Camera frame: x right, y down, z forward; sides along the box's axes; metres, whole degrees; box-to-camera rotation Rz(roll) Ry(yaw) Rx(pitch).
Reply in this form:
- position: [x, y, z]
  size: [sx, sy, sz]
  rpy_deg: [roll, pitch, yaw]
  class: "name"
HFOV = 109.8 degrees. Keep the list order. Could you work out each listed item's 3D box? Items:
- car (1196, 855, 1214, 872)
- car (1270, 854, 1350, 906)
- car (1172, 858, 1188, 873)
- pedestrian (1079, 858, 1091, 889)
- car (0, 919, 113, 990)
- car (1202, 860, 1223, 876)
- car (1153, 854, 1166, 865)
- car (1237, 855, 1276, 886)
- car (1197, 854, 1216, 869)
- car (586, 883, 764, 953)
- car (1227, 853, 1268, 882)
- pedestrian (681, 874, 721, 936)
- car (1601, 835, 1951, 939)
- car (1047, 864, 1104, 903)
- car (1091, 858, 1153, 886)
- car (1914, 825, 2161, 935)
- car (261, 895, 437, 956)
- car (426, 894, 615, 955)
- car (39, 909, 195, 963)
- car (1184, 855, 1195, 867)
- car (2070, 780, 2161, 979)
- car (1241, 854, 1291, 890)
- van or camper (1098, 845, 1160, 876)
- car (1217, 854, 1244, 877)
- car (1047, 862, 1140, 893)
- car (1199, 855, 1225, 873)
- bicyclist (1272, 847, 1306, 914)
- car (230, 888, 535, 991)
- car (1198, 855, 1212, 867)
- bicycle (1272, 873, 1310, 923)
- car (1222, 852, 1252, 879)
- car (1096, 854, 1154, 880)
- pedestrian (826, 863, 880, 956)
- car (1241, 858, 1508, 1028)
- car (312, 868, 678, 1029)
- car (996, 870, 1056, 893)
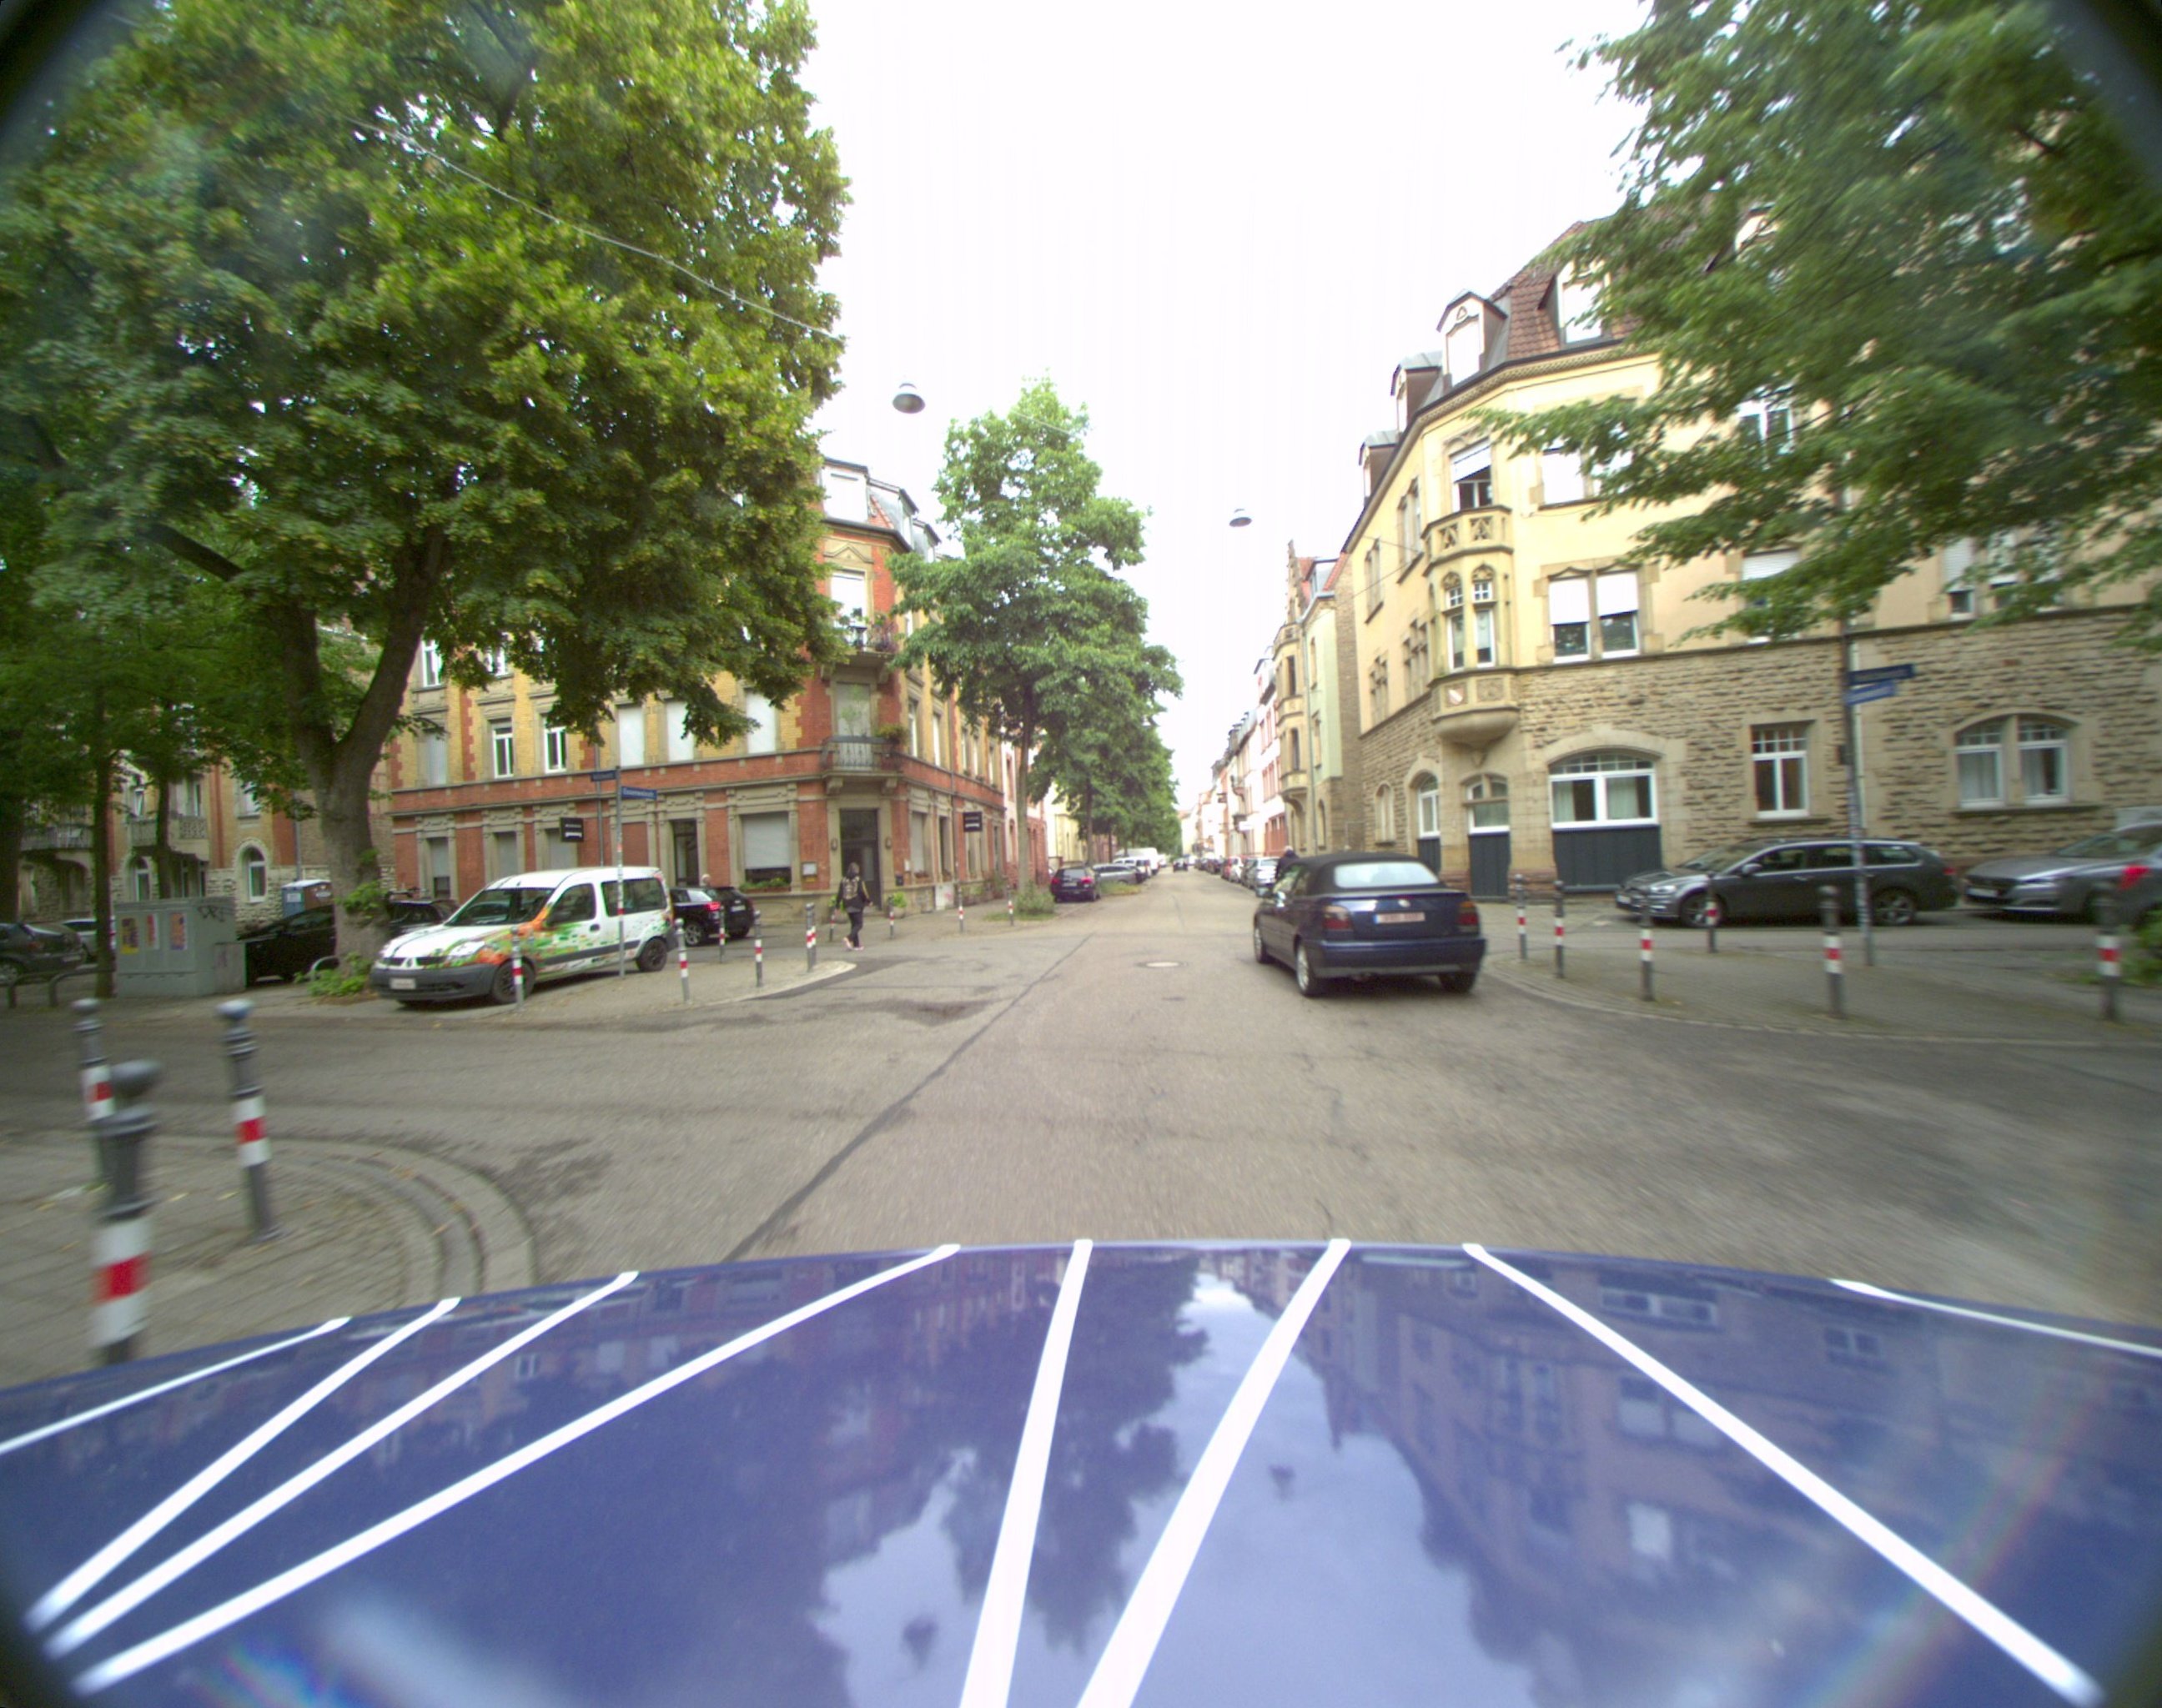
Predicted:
- position: [14.328, 1.089, 88.005]
  size: [1.843, 1.849, 4.003]
  rpy_deg: [-3, 0, 8]
  class: "car"
- position: [7.262, 0.800, 24.449]
  size: [1.731, 1.425, 3.884]
  rpy_deg: [-4, -1, 7]
  class: "car"
- position: [12.007, 1.353, 92.305]
  size: [1.813, 1.620, 4.210]
  rpy_deg: [-3, 0, 8]
  class: "car"
- position: [0.227, 1.095, 42.537]
  size: [0.598, 1.723, 0.664]
  rpy_deg: [-2, 0, 5]
  class: "pedestrian"
- position: [-24.238, 2.315, 16.452]
  size: [3.594, 1.410, 1.740]
  rpy_deg: [-4, -2, -29]
  class: "car"
- position: [12.548, 1.303, 72.623]
  size: [1.659, 1.375, 3.474]
  rpy_deg: [-4, 0, 7]
  class: "car"
- position: [14.377, 0.974, 138.400]
  size: [1.997, 1.739, 4.003]
  rpy_deg: [-3, -1, 9]
  class: "car"
- position: [8.912, 0.809, 38.779]
  size: [1.520, 1.425, 3.458]
  rpy_deg: [-4, -1, 7]
  class: "car"
- position: [13.066, 0.766, 79.223]
  size: [1.609, 1.463, 3.344]
  rpy_deg: [-3, 0, 6]
  class: "car"
- position: [-10.425, 1.629, 19.585]
  size: [3.828, 1.531, 1.662]
  rpy_deg: [-3, 1, 14]
  class: "car"
- position: [9.532, 0.739, 43.781]
  size: [1.670, 1.502, 3.555]
  rpy_deg: [-3, -1, 2]
  class: "car"
- position: [-10.720, 1.439, 21.447]
  size: [0.747, 1.696, 0.563]
  rpy_deg: [-3, 0, 18]
  class: "pedestrian"
- position: [11.972, 0.567, 13.406]
  size: [4.278, 1.459, 1.663]
  rpy_deg: [-3, 3, 14]
  class: "car"
- position: [-0.150, 1.173, 31.677]
  size: [1.767, 1.477, 4.482]
  rpy_deg: [-1, 0, 7]
  class: "car"
- position: [2.590, 1.159, 48.427]
  size: [3.470, 1.553, 1.784]
  rpy_deg: [-3, 0, -16]
  class: "car"
- position: [16.588, 0.369, 12.108]
  size: [4.278, 1.459, 1.663]
  rpy_deg: [-3, 3, 14]
  class: "car"
- position: [-22.594, 2.215, 23.497]
  size: [4.323, 1.525, 2.002]
  rpy_deg: [-3, 2, 18]
  class: "car"
- position: [-15.627, 1.969, 21.237]
  size: [4.323, 1.347, 2.002]
  rpy_deg: [-3, 2, 18]
  class: "car"
- position: [-32.940, 2.791, 25.981]
  size: [4.265, 1.487, 1.846]
  rpy_deg: [-3, 2, 18]
  class: "car"
- position: [21.714, 1.404, 152.458]
  size: [2.051, 2.071, 3.813]
  rpy_deg: [-4, -1, 8]
  class: "car"
- position: [11.647, 0.195, 6.189]
  size: [1.833, 1.956, 3.960]
  rpy_deg: [-3, 0, -6]
  class: "car"
- position: [8.252, 0.782, 34.222]
  size: [1.592, 1.425, 3.812]
  rpy_deg: [-4, -1, 6]
  class: "car"
- position: [4.268, 0.569, 67.575]
  size: [5.075, 2.575, 2.070]
  rpy_deg: [-3, 0, -23]
  class: "van or camper"
- position: [10.318, 0.804, 52.564]
  size: [1.468, 1.408, 3.920]
  rpy_deg: [-4, -1, 7]
  class: "car"
- position: [0.657, 1.155, 38.677]
  size: [4.451, 1.419, 1.755]
  rpy_deg: [0, 0, -27]
  class: "car"
- position: [11.087, 0.799, 64.703]
  size: [1.903, 1.382, 4.002]
  rpy_deg: [-3, -1, 7]
  class: "car"
- position: [4.903, 0.621, 17.935]
  size: [0.649, 1.529, 0.677]
  rpy_deg: [-2, 0, 9]
  class: "bicyclist"
- position: [-13.228, 1.559, 14.714]
  size: [3.956, 1.571, 1.683]
  rpy_deg: [-3, -1, -21]
  class: "car"
- position: [15.219, 0.841, 93.363]
  size: [1.456, 1.401, 3.813]
  rpy_deg: [-4, -1, 8]
  class: "car"
- position: [4.901, 1.012, 17.803]
  size: [0.635, 1.087, 1.801]
  rpy_deg: [-2, -1, 9]
  class: "bicycle"
- position: [9.877, 0.708, 48.289]
  size: [1.468, 1.521, 3.570]
  rpy_deg: [-4, -1, 7]
  class: "car"
- position: [3.345, 0.992, 57.329]
  size: [3.992, 1.801, 1.722]
  rpy_deg: [-3, 0, 18]
  class: "car"
- position: [-4.547, 1.095, 15.171]
  size: [0.780, 1.786, 0.510]
  rpy_deg: [-3, 0, 9]
  class: "pedestrian"
- position: [2.987, 0.805, 8.629]
  size: [1.712, 1.405, 3.853]
  rpy_deg: [-2, 0, 4]
  class: "car"
- position: [-8.091, 1.181, 11.064]
  size: [1.773, 1.808, 4.003]
  rpy_deg: [-3, 0, 10]
  class: "car"
- position: [-3.871, 1.932, 53.885]
  size: [3.995, 1.445, 1.610]
  rpy_deg: [-3, 0, 6]
  class: "car"
